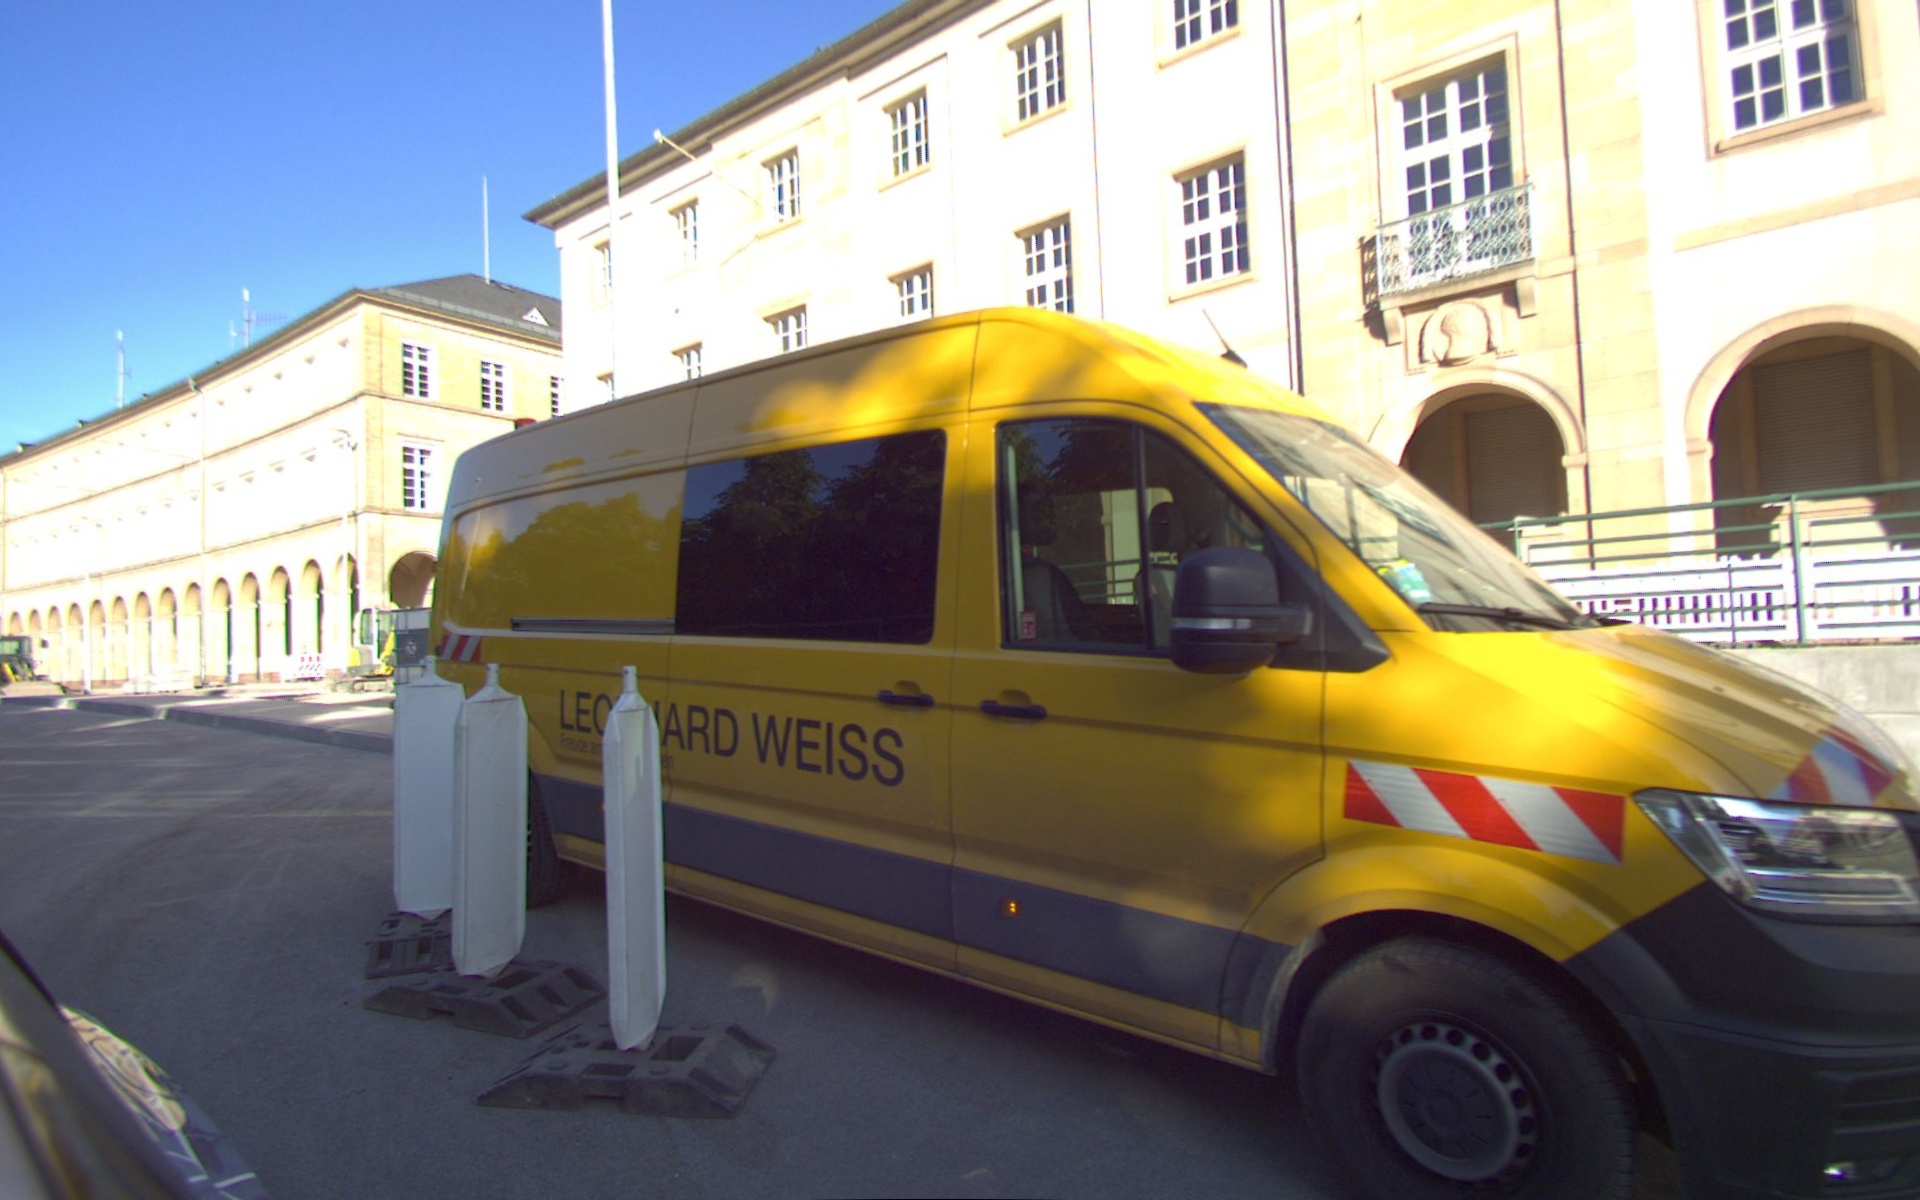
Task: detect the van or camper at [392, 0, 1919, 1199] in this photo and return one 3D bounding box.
[{"bbox_3d":[0.042,0.165,4.445,6.820,2.632,2.171,-1,1,41],"label":"van or camper"}]

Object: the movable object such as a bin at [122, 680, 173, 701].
[{"bbox_3d":[-30.452,3.382,37.937,1.236,0.703,1.178,-4,-4,32],"label":"movable object such as a bin"}]

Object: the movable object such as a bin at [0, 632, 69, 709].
[{"bbox_3d":[-32.412,2.433,34.484,4.520,2.472,1.777,-4,-4,31],"label":"movable object such as a bin"}]

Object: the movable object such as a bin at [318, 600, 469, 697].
[{"bbox_3d":[-15.361,1.357,27.397,4.302,2.414,2.078,-3,-5,39],"label":"movable object such as a bin"}]
